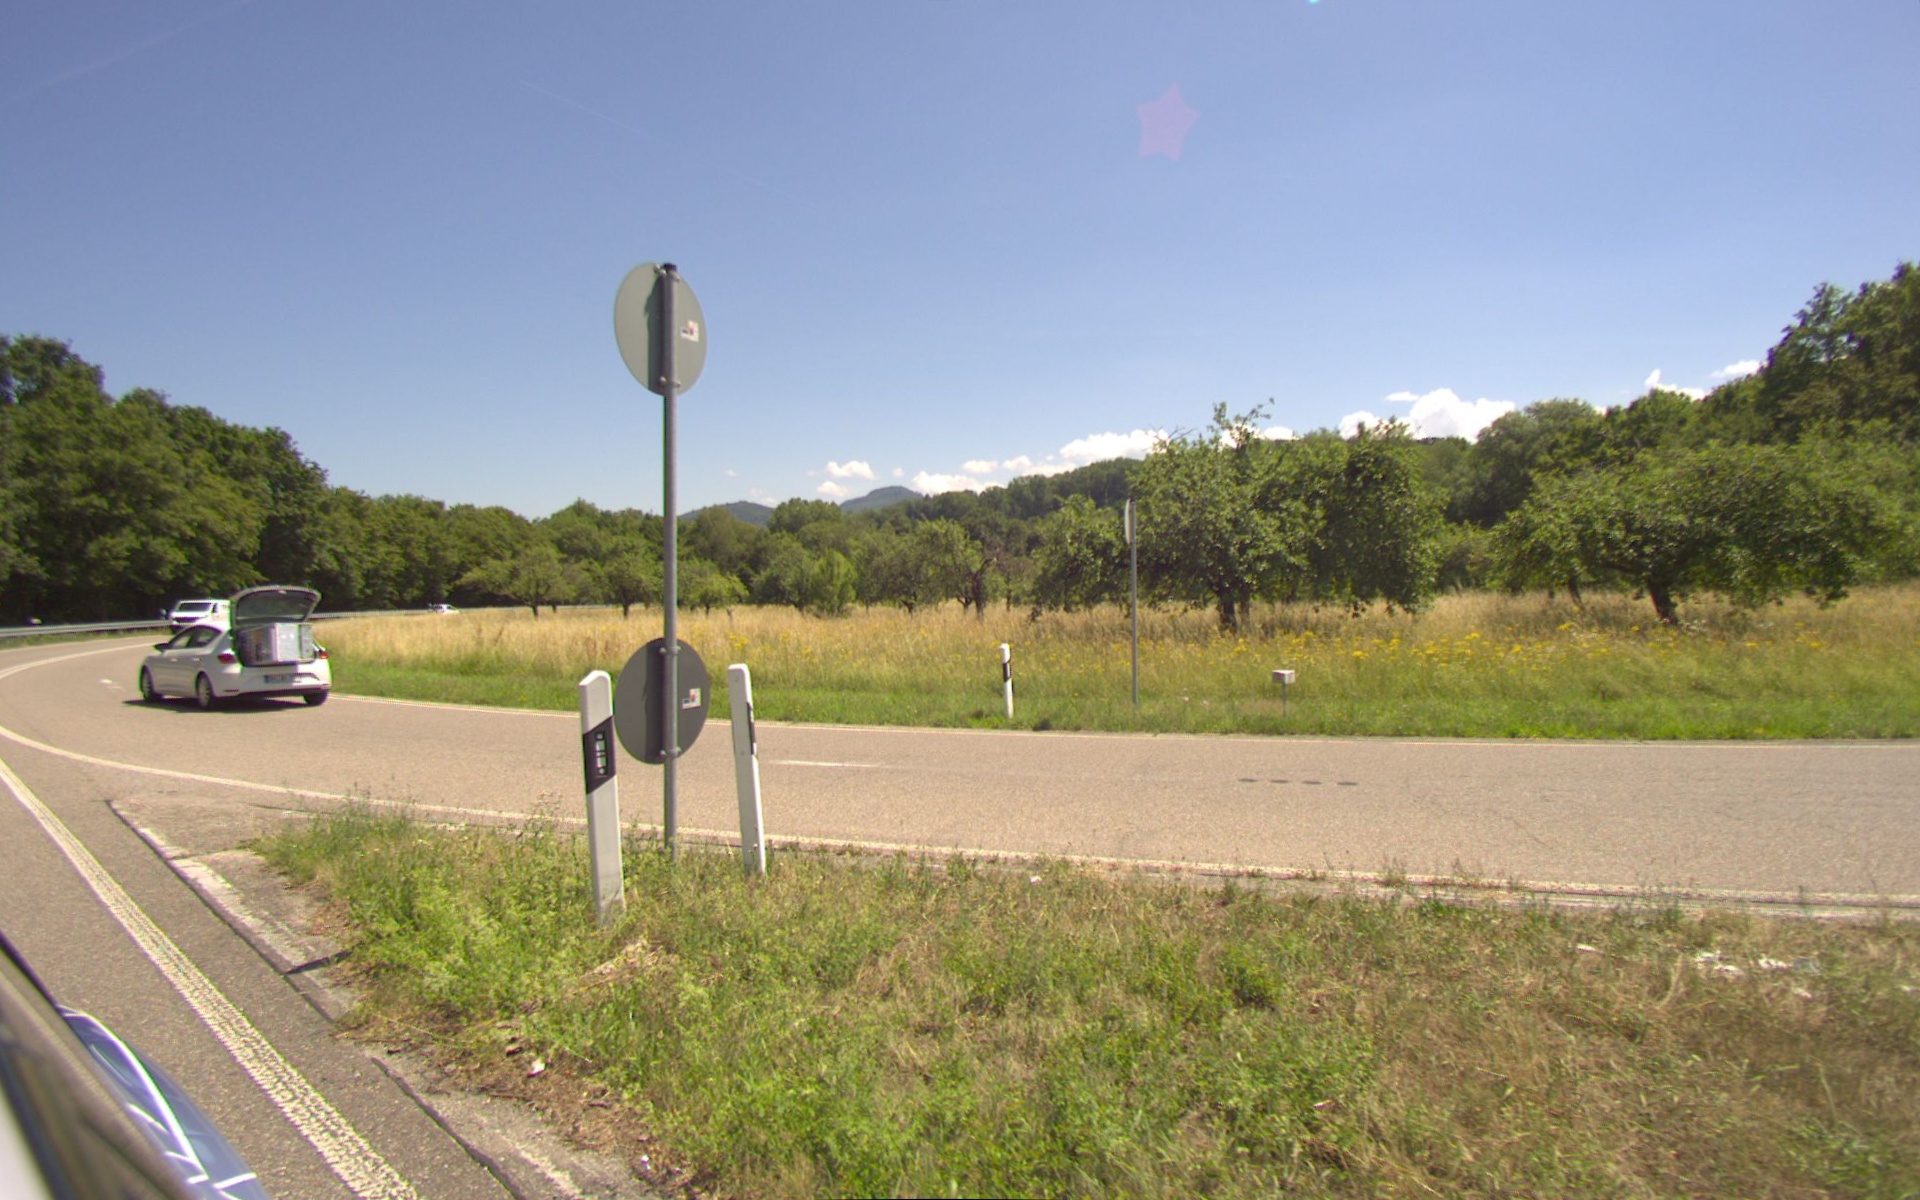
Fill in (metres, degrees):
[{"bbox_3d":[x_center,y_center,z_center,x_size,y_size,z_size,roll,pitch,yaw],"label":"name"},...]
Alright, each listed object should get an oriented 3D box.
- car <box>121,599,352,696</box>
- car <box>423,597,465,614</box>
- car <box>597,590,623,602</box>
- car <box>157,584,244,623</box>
[{"bbox_3d":[-12.353,0.734,17.214,4.136,1.435,1.831,1,-1,33],"label":"car"},{"bbox_3d":[-49.578,0.504,97.295,1.803,1.518,4.170,1,-1,1],"label":"car"},{"bbox_3d":[-47.144,-0.496,136.406,1.805,1.469,4.395,3,1,4],"label":"car"},{"bbox_3d":[-45.302,0.146,60.544,2.189,2.048,5.443,3,1,-14],"label":"car"}]
